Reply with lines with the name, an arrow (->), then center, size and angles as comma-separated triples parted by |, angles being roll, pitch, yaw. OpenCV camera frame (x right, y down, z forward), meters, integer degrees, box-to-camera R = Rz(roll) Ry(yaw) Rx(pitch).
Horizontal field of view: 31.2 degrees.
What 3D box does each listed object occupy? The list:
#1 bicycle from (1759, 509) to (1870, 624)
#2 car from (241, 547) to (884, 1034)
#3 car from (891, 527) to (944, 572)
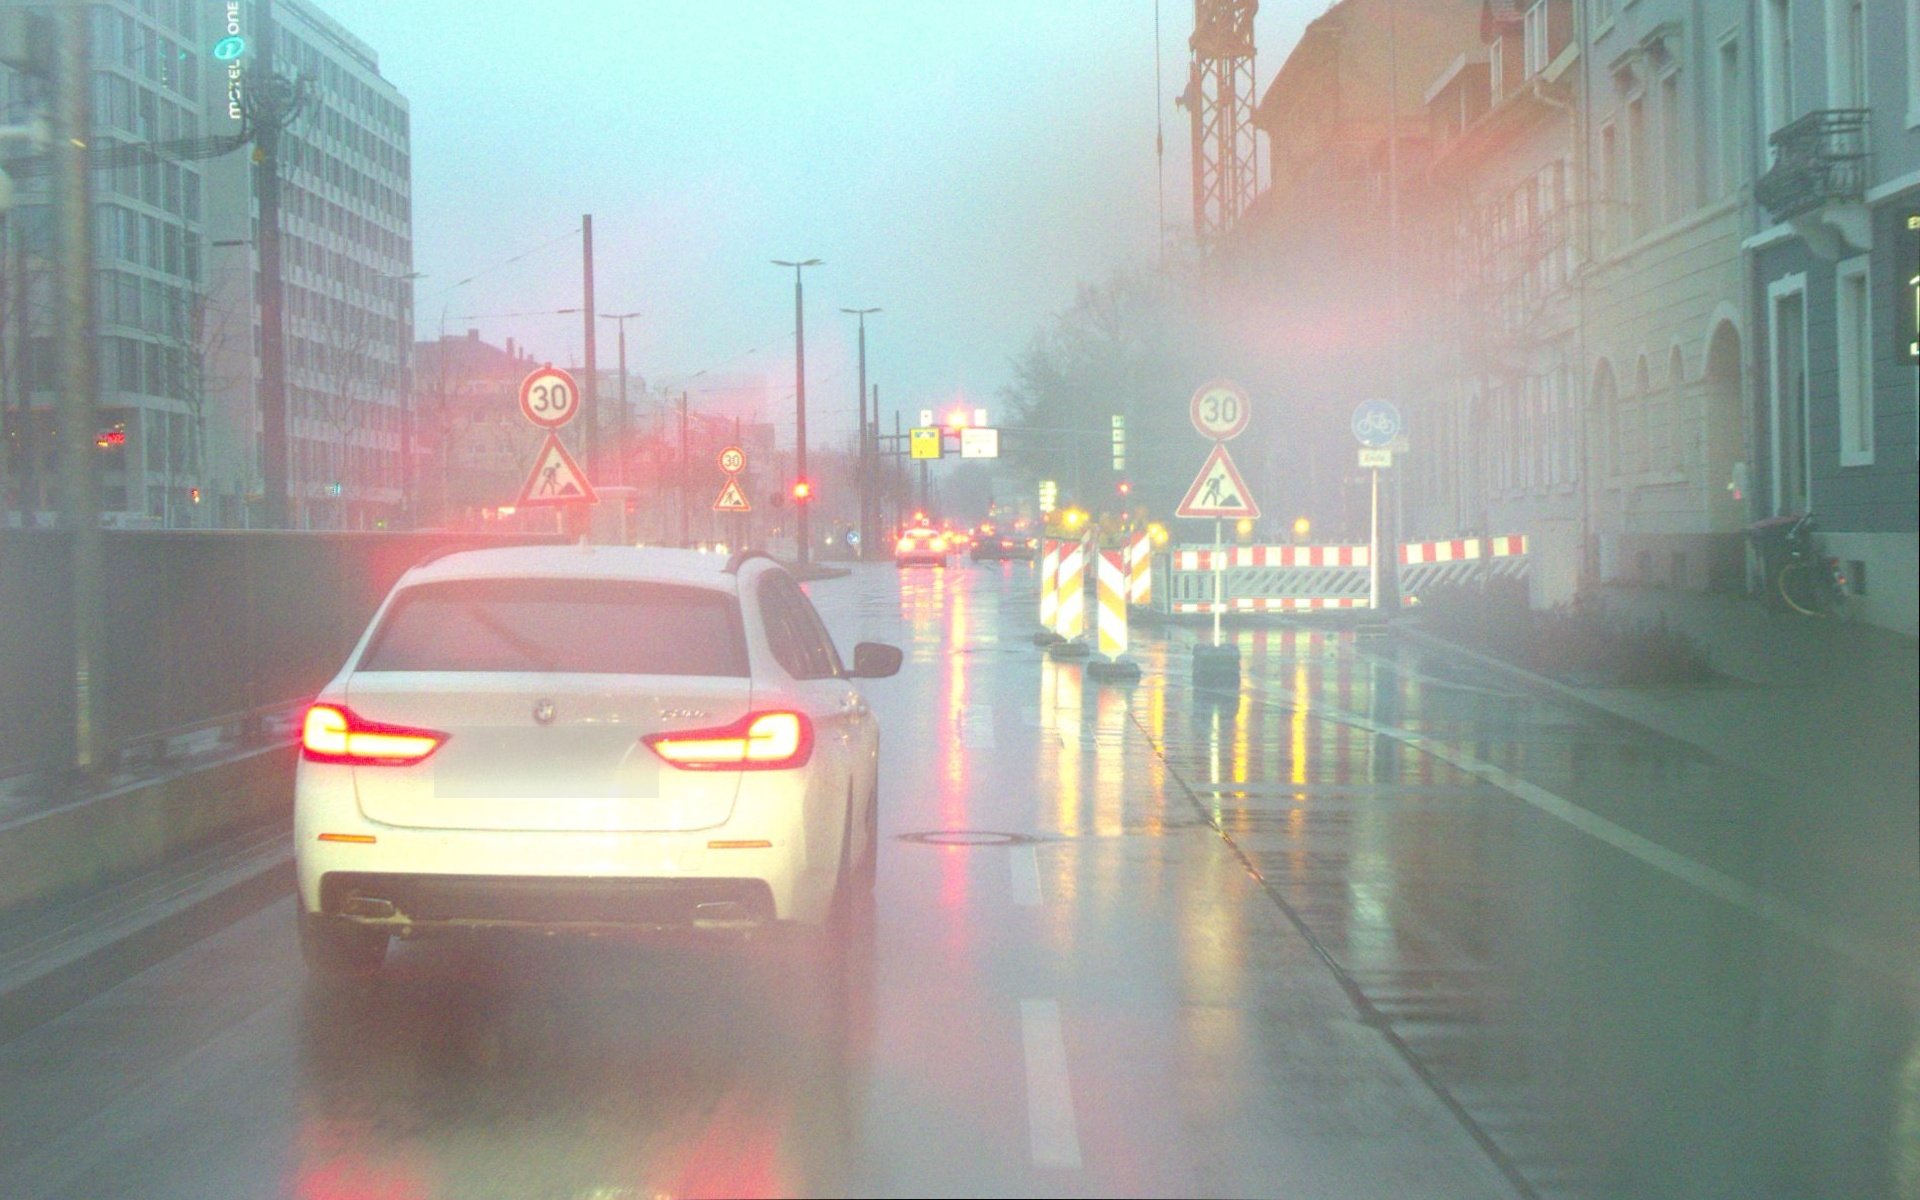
bicycle -> 9.620, -0.381, 38.771 | 0.682, 1.218, 1.906 | -4, 1, -1
car -> -1.265, 0.544, 12.954 | 1.852, 1.460, 4.947 | 0, 1, 0
car -> -1.562, -1.898, 127.957 | 1.901, 1.636, 4.000 | 0, 1, 1
